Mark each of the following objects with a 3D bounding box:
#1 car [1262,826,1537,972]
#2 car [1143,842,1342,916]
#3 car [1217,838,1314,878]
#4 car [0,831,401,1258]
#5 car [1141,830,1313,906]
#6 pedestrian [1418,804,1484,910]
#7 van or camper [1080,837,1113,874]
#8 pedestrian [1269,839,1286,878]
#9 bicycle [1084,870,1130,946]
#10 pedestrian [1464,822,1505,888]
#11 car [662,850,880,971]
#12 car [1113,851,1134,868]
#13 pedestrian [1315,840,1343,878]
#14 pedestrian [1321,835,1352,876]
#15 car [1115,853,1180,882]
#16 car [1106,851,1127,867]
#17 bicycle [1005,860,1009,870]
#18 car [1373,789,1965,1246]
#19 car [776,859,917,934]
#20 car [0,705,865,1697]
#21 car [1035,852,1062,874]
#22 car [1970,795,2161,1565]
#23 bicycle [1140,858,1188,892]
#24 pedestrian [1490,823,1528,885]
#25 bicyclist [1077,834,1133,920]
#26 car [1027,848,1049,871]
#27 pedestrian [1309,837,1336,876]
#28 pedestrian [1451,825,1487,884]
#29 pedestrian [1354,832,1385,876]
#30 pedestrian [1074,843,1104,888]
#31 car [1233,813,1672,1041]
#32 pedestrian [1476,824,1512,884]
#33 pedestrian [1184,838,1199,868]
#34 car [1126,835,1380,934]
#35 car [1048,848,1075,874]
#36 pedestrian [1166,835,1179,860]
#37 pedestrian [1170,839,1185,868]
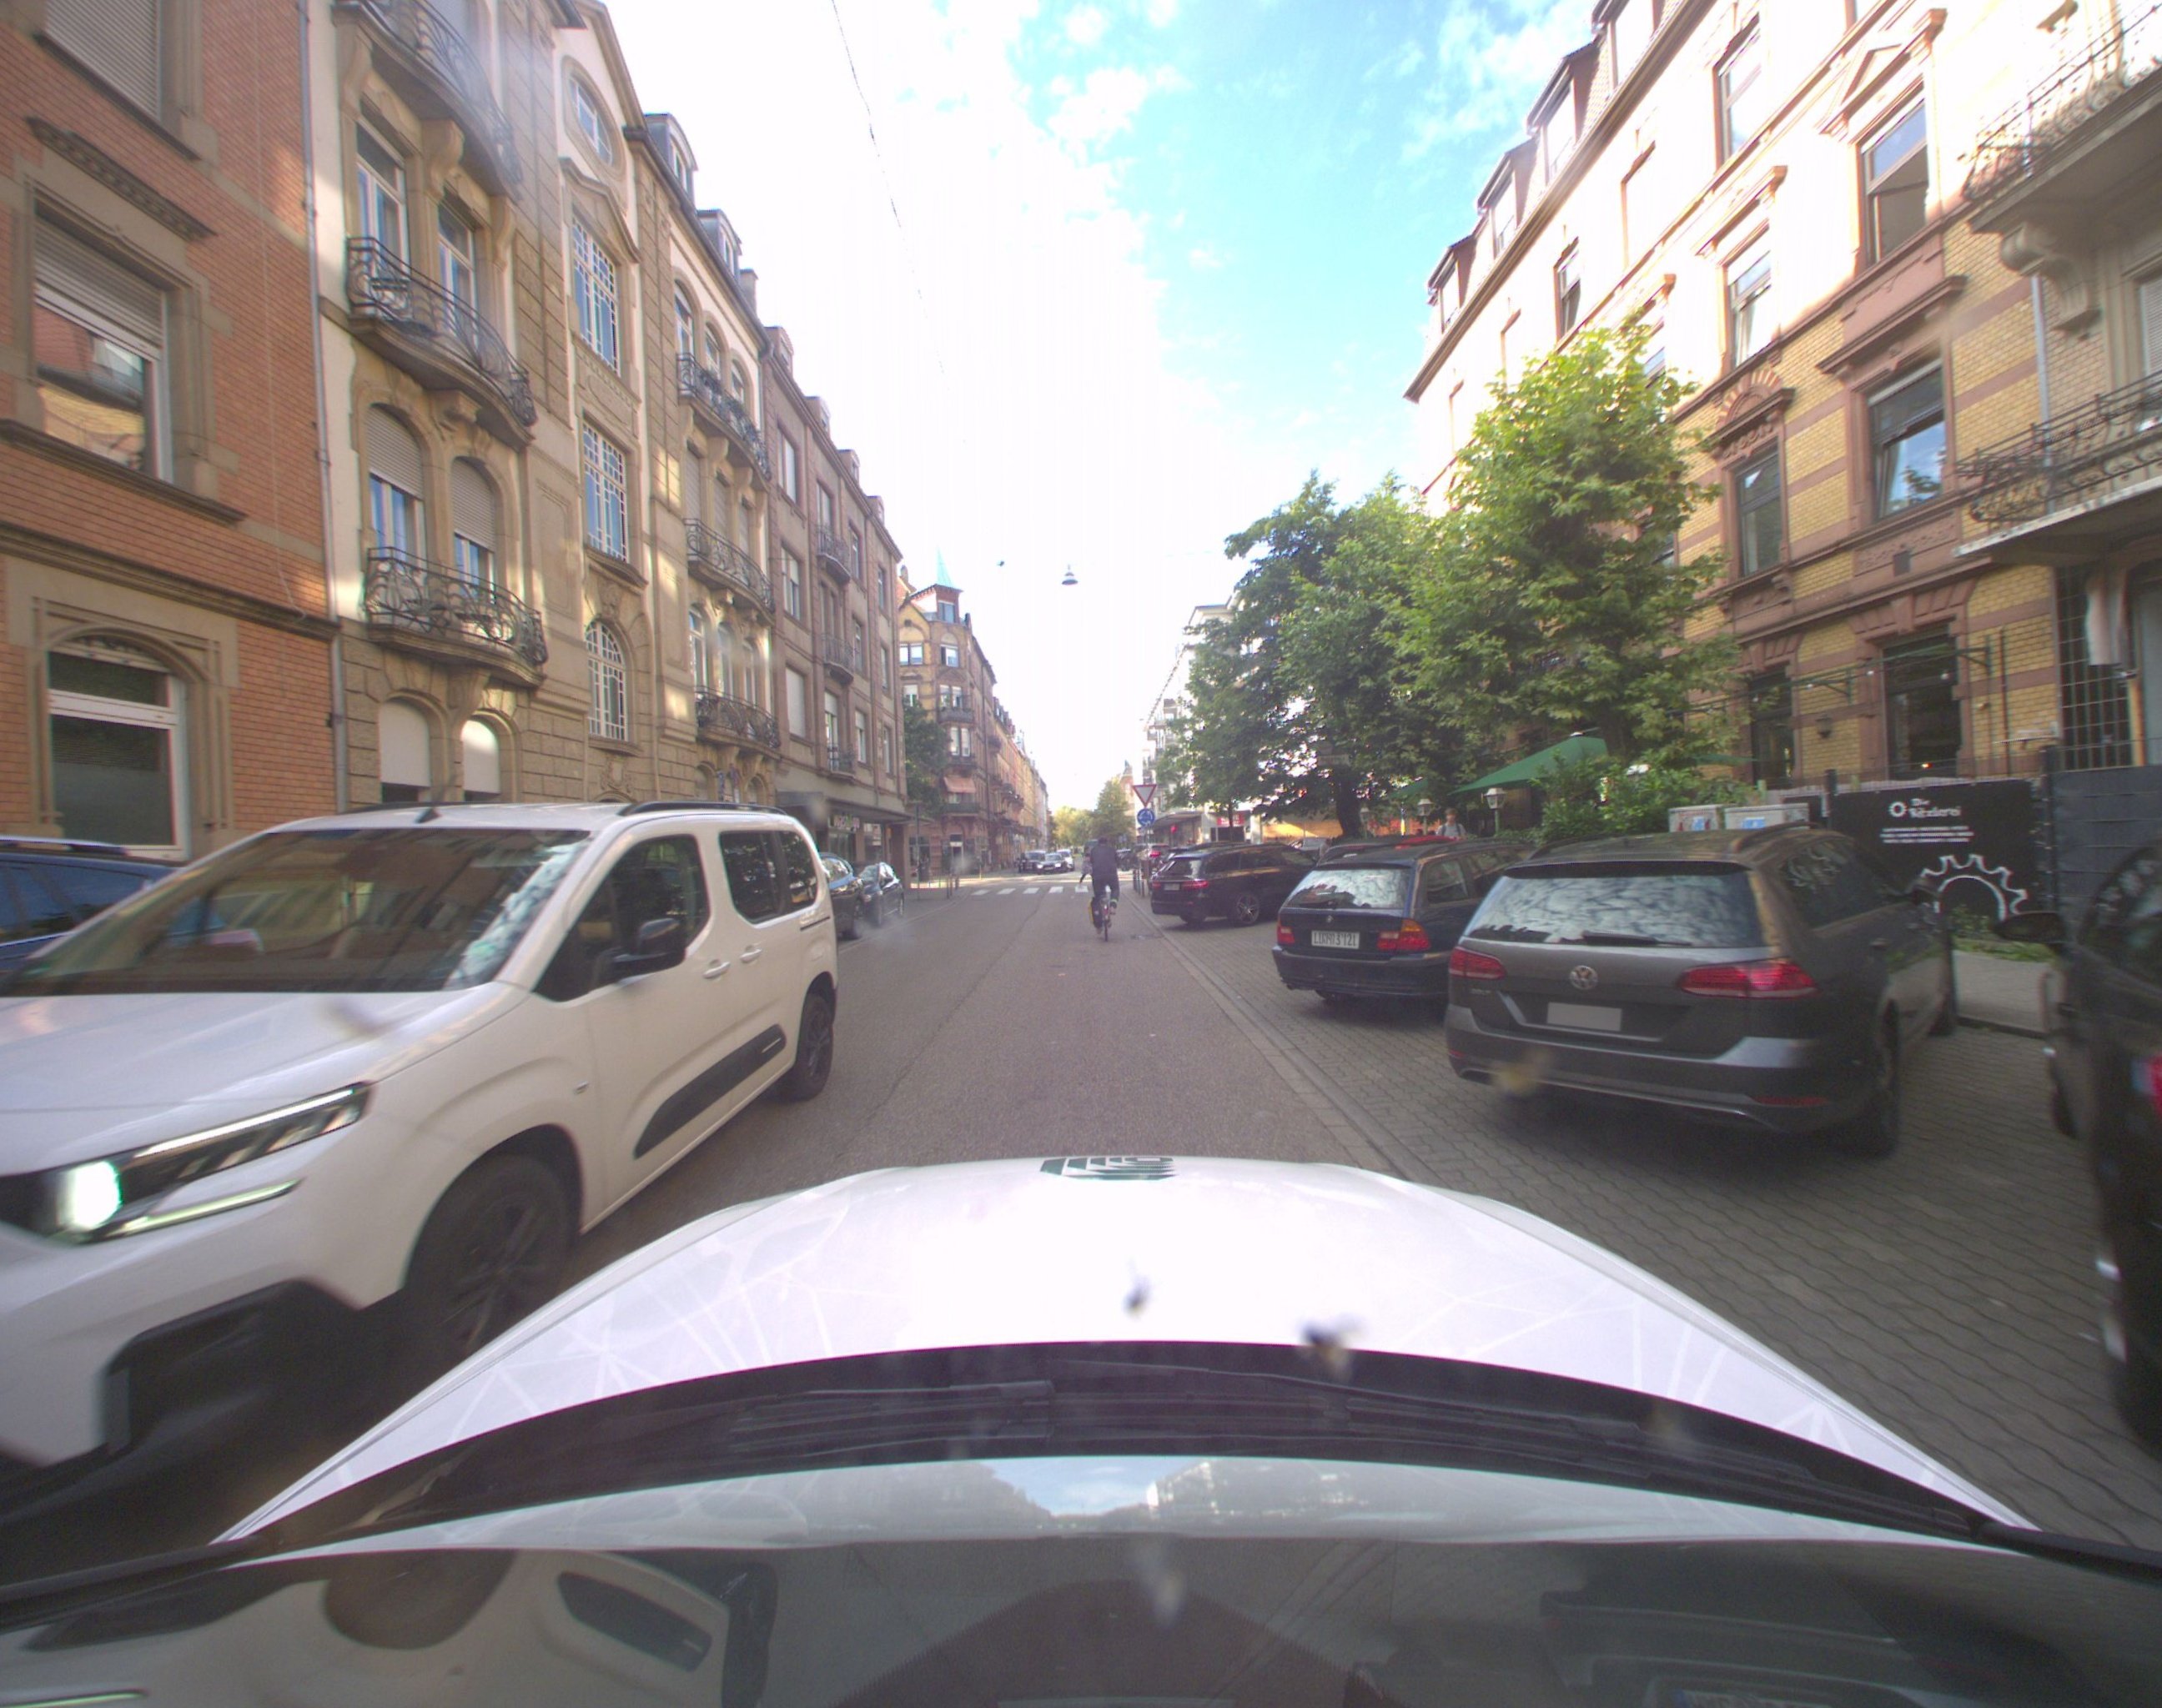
[{"bbox_3d":[4.347,0.483,10.904,3.738,1.485,1.721,-5,1,-38],"label":"car"},{"bbox_3d":[3.928,0.552,19.752,4.422,1.457,1.927,-3,0,-25],"label":"car"},{"bbox_3d":[9.797,0.180,43.316,4.796,1.724,2.050,-4,1,13],"label":"car"},{"bbox_3d":[-5.175,0.775,2.721,1.869,1.681,4.888,-1,1,-4],"label":"car"},{"bbox_3d":[4.032,0.342,22.419,4.364,1.644,1.806,-5,1,-26],"label":"car"},{"bbox_3d":[6.856,0.048,15.109,0.835,1.878,0.723,-3,0,4],"label":"pedestrian"},{"bbox_3d":[1.318,0.125,72.527,2.525,3.037,4.455,-3,0,-2],"label":"van or camper"},{"bbox_3d":[8.978,0.215,37.235,0.624,1.739,0.778,-3,0,12],"label":"pedestrian"},{"bbox_3d":[0.433,0.905,14.522,0.664,1.178,2.495,-1,0,-1],"label":"bicycle"},{"bbox_3d":[10.554,0.021,21.307,0.645,1.642,0.563,-5,0,-4],"label":"pedestrian"},{"bbox_3d":[-4.978,0.806,13.931,1.785,1.628,4.847,-3,0,0],"label":"car"},{"bbox_3d":[3.743,0.445,72.269,1.639,1.324,3.578,-5,0,1],"label":"car"},{"bbox_3d":[9.053,0.169,29.714,0.755,1.342,0.596,-3,0,-4],"label":"pedestrian"},{"bbox_3d":[9.100,0.068,29.034,0.795,1.406,0.702,-3,0,-4],"label":"pedestrian"},{"bbox_3d":[3.971,0.831,49.123,2.006,1.618,3.962,-3,0,-30],"label":"car"},{"bbox_3d":[3.601,0.491,84.127,1.986,1.486,4.001,-3,0,1],"label":"car"},{"bbox_3d":[-7.474,1.117,82.311,0.359,0.947,1.713,-2,0,-4],"label":"bicycle"},{"bbox_3d":[3.903,0.493,5.032,4.493,1.476,1.867,-6,2,-40],"label":"car"},{"bbox_3d":[-5.222,0.881,18.802,1.988,1.420,4.243,-3,0,-1],"label":"car"},{"bbox_3d":[-2.574,0.658,3.724,1.911,1.828,4.438,-1,0,0],"label":"car"},{"bbox_3d":[-2.236,0.616,56.946,1.745,1.436,4.209,-2,-1,-2],"label":"car"},{"bbox_3d":[4.024,0.544,2.445,4.017,1.459,1.730,-4,1,-42],"label":"car"},{"bbox_3d":[2.743,0.709,27.040,0.551,1.040,1.839,-6,1,-29],"label":"bicycle"},{"bbox_3d":[11.209,-0.006,21.338,0.627,1.570,0.569,-3,0,-4],"label":"pedestrian"},{"bbox_3d":[0.413,0.396,14.577,0.931,1.484,0.747,-1,0,-2],"label":"bicyclist"},{"bbox_3d":[-4.137,0.511,79.425,1.988,2.013,3.997,-3,0,-2],"label":"car"},{"bbox_3d":[8.989,0.097,30.298,0.755,1.392,0.548,-3,0,-5],"label":"pedestrian"},{"bbox_3d":[10.615,0.002,22.287,0.627,1.570,0.569,-3,0,-4],"label":"pedestrian"},{"bbox_3d":[9.506,0.002,26.886,0.671,1.406,0.757,-3,0,-4],"label":"pedestrian"},{"bbox_3d":[0.327,0.454,33.002,0.774,1.779,0.798,-3,0,38],"label":"pedestrian"},{"bbox_3d":[3.801,0.494,8.018,4.488,1.464,1.859,-5,2,-35],"label":"car"},{"bbox_3d":[11.315,-0.003,22.333,0.627,1.570,0.569,-3,0,-4],"label":"pedestrian"},{"bbox_3d":[7.139,-0.076,52.602,0.865,1.851,0.613,-3,0,5],"label":"pedestrian"},{"bbox_3d":[3.520,0.525,16.436,4.782,1.456,2.038,-5,2,-28],"label":"car"},{"bbox_3d":[-1.517,0.525,65.622,1.937,1.721,4.849,-4,1,0],"label":"car"},{"bbox_3d":[6.324,-0.450,56.024,0.740,1.629,0.815,-3,0,11],"label":"pedestrian"},{"bbox_3d":[6.266,-0.030,52.711,0.865,1.851,0.613,-3,0,5],"label":"pedestrian"}]
